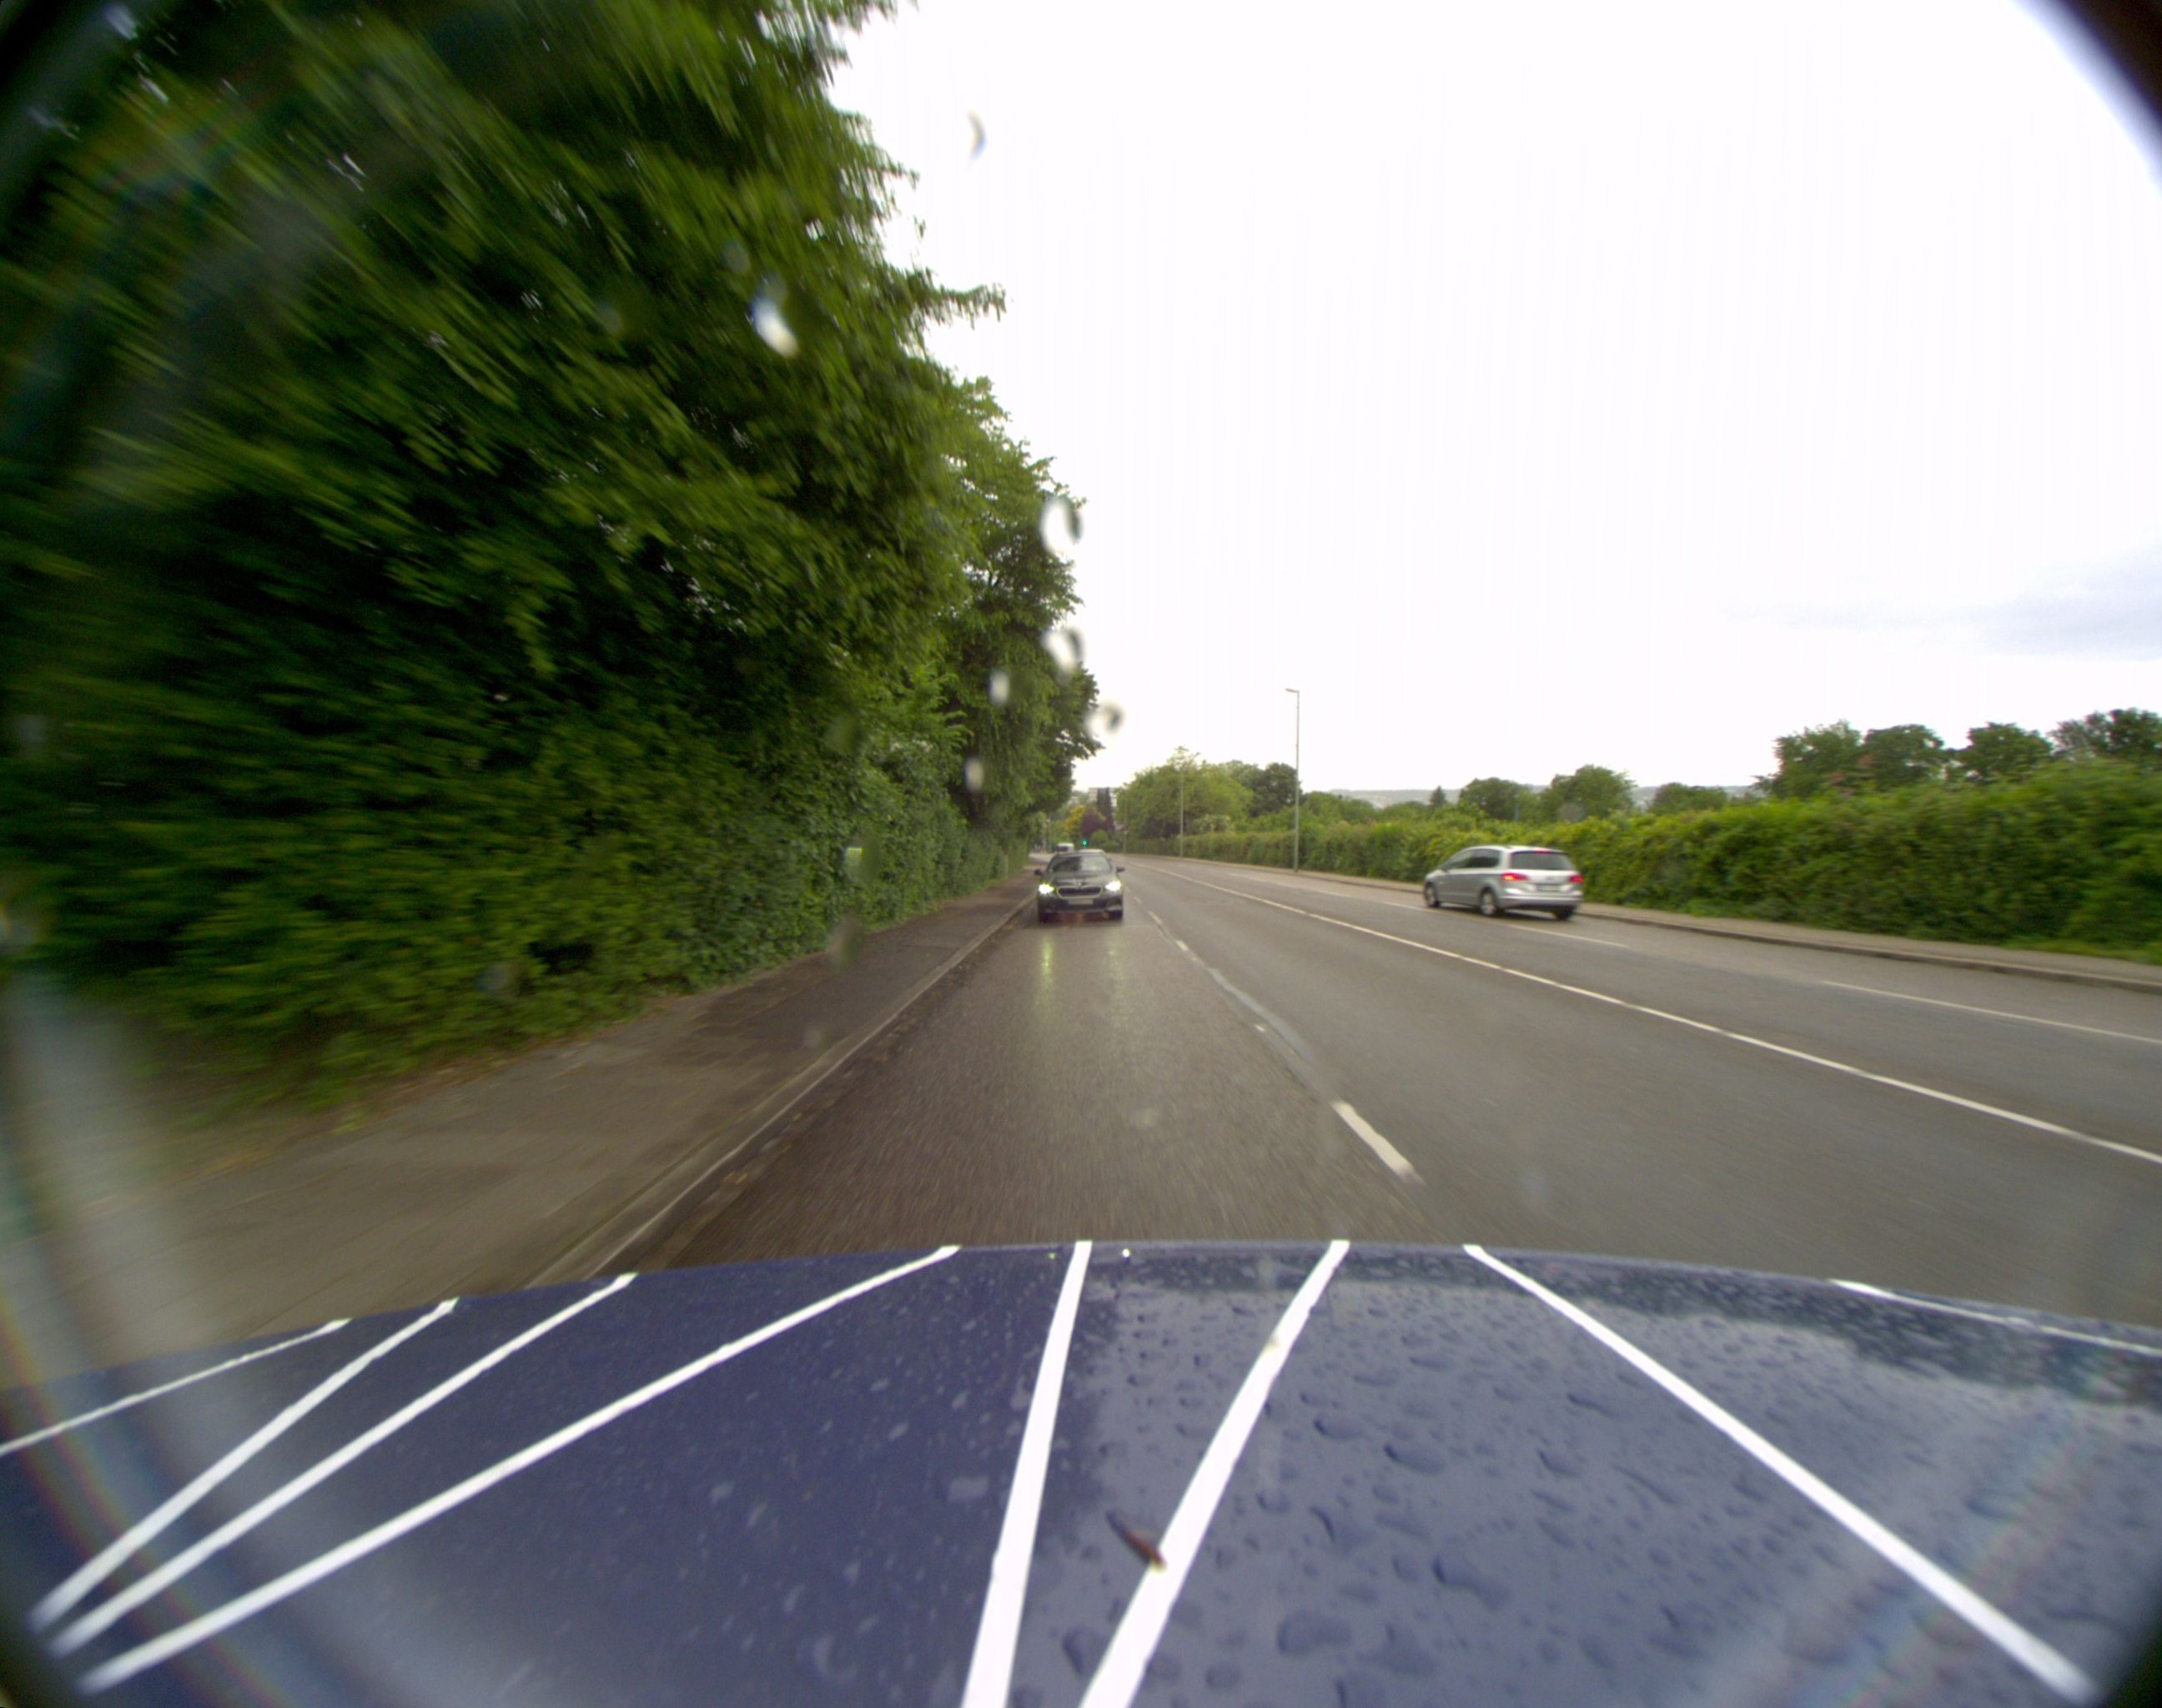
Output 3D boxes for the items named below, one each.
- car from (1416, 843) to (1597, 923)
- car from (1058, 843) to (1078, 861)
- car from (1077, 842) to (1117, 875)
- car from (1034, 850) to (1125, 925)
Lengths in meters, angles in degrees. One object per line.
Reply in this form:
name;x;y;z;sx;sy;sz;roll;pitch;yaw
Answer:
car;9.393;0.559;17.195;1.761;1.559;3.999;1;1;-1
car;-1.275;-0.235;73.134;1.703;1.671;4.281;-1;1;-3
car;0.751;0.185;37.857;1.551;1.505;4.280;0;1;-5
car;-0.124;0.691;18.060;1.846;1.371;4.280;-3;2;-3
